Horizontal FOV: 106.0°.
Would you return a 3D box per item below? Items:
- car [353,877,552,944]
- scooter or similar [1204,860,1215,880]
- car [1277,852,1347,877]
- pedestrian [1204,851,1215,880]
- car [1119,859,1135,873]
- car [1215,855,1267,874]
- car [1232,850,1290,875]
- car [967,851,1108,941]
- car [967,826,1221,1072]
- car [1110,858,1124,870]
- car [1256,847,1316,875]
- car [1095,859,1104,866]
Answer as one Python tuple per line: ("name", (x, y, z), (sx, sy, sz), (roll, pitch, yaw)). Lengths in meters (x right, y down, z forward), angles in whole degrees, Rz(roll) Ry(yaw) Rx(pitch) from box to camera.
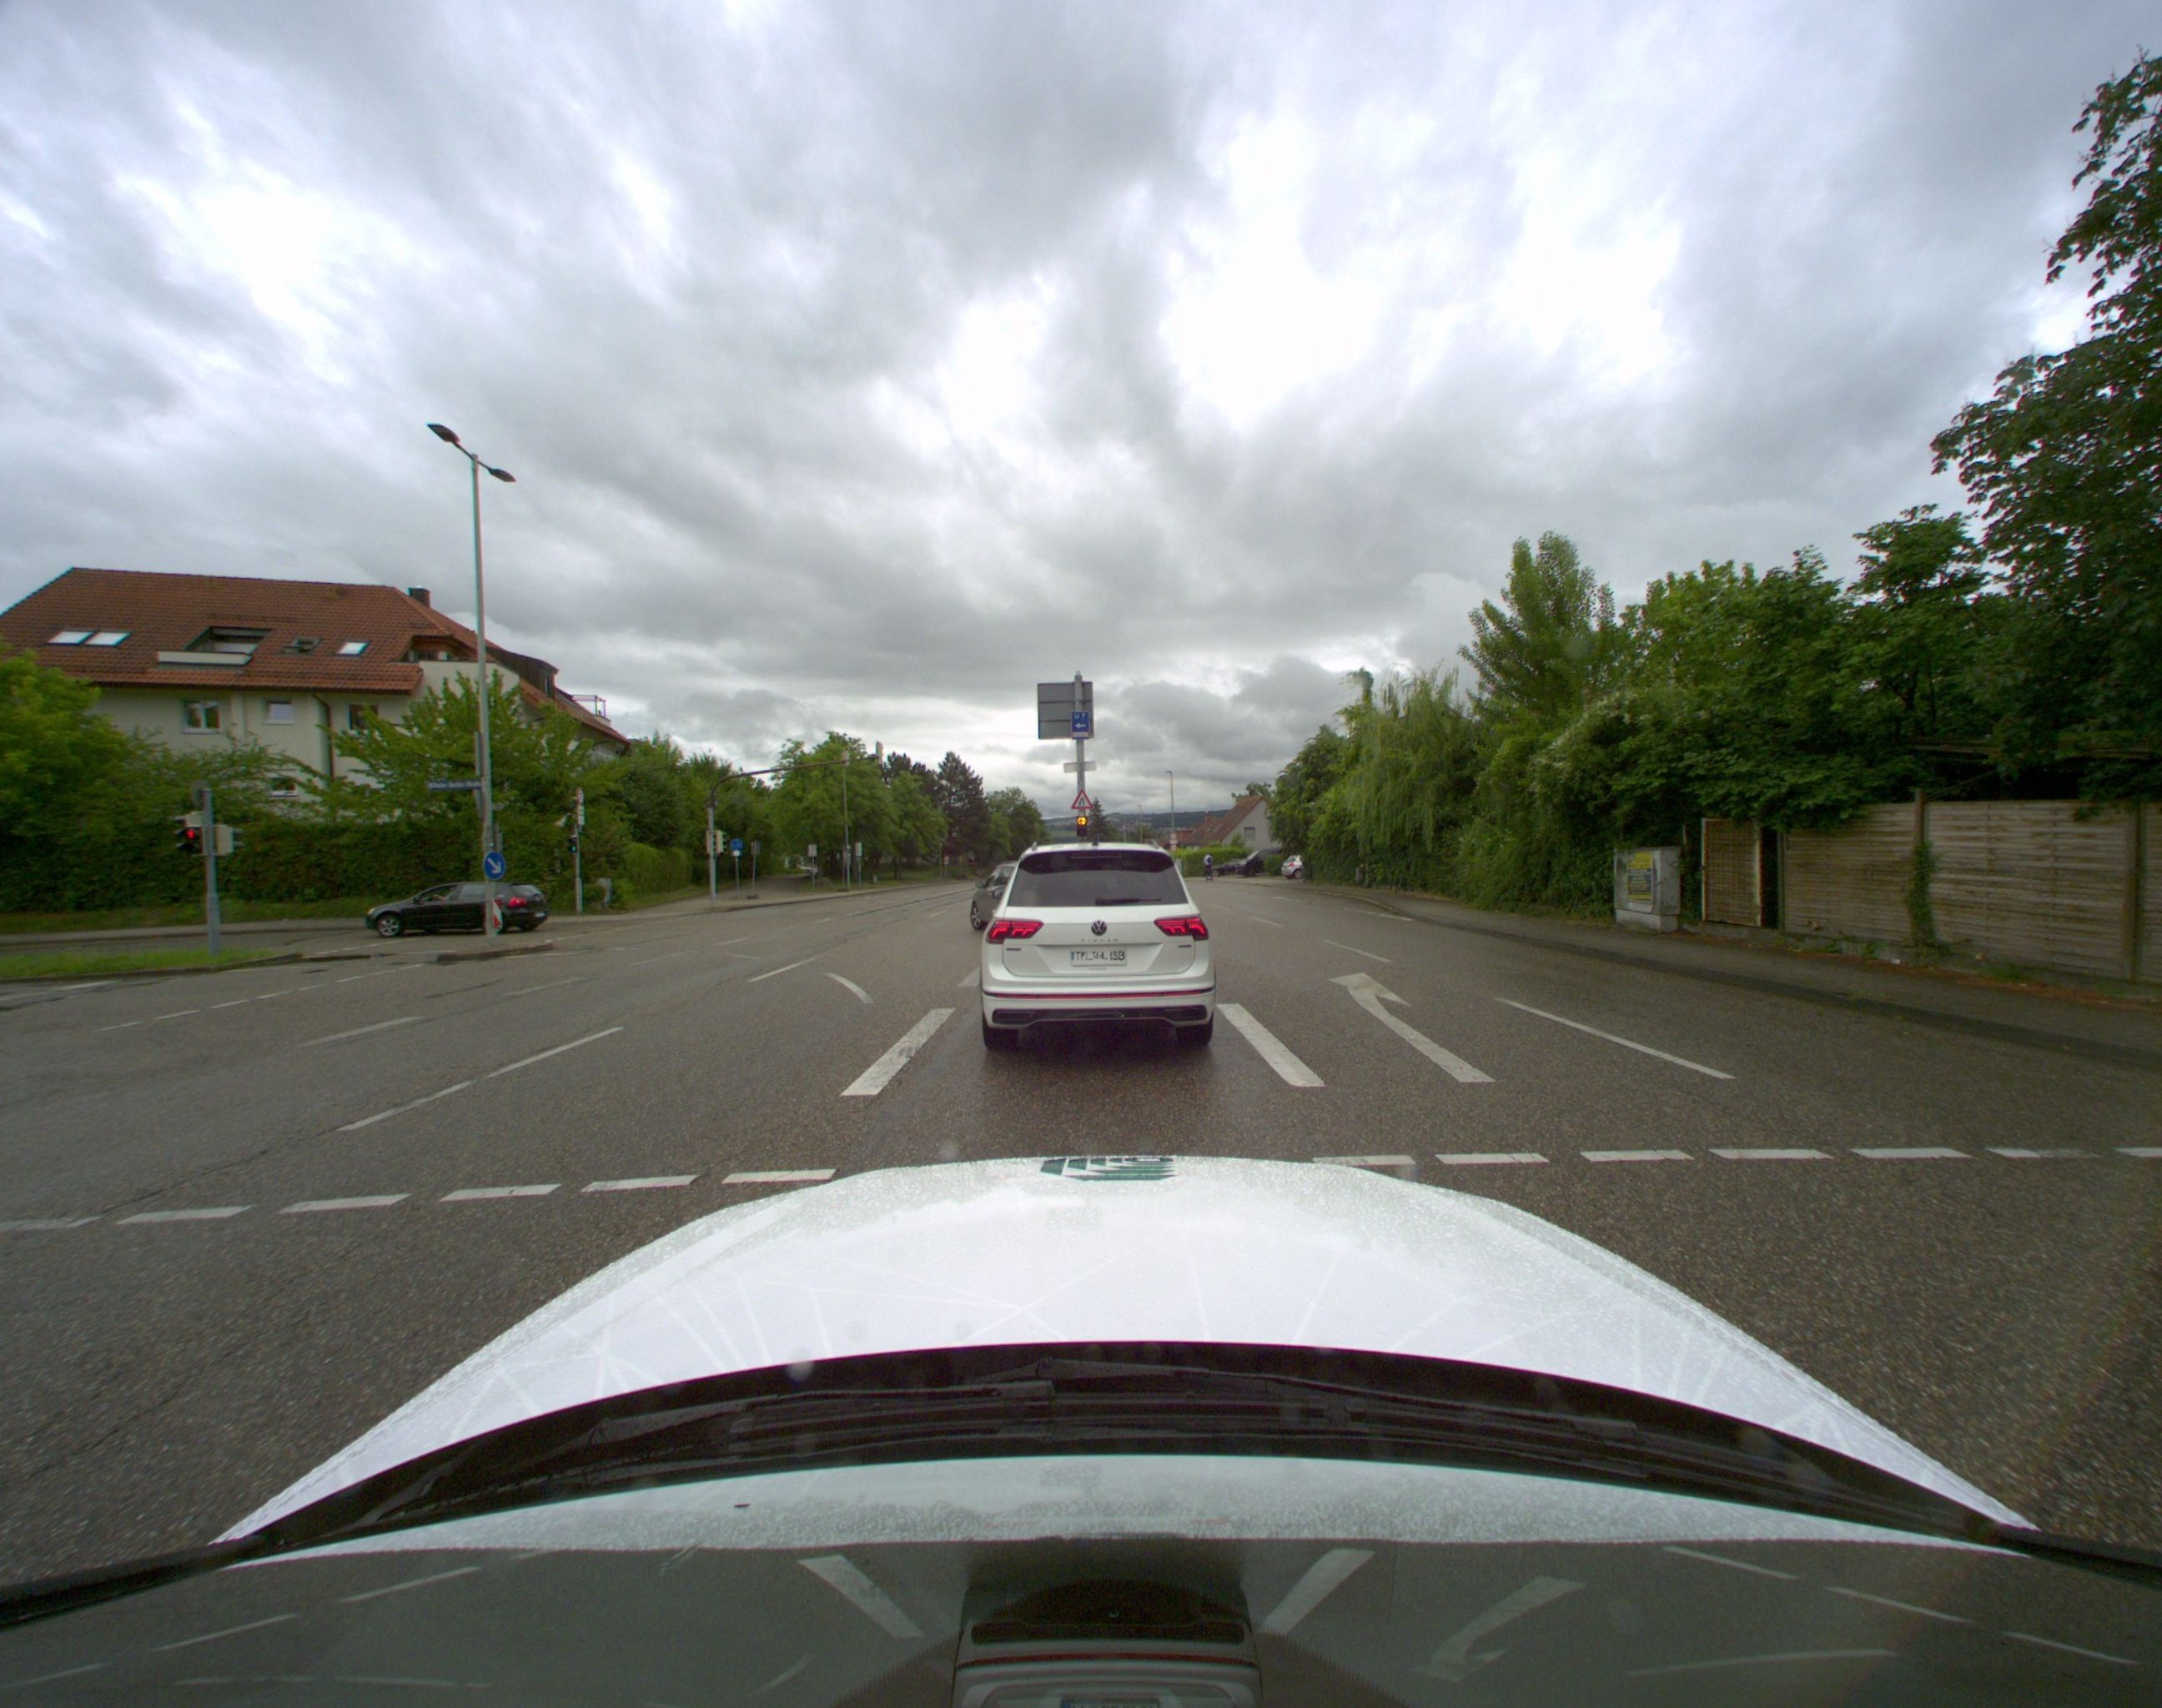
("car", (-16.825, 1.463, 22.073), (4.011, 1.479, 1.749), (-2, 0, -29))
("scooter or similar", (9.075, 1.103, 57.415), (0.460, 1.361, 1.383), (-1, 0, -2))
("car", (14.032, 0.661, 49.539), (3.709, 1.395, 1.725), (-2, -1, -6))
("pedestrian", (9.009, 0.777, 57.134), (0.654, 2.002, 0.717), (-1, 0, -2))
("car", (5.334, 1.399, 94.796), (1.843, 1.574, 4.002), (0, 0, 2))
("car", (12.212, 0.826, 62.213), (3.676, 1.370, 1.518), (-1, -2, 0))
("car", (12.663, 0.568, 57.357), (3.619, 1.626, 1.789), (-2, 0, -3))
("car", (-1.031, 0.782, 16.929), (1.805, 1.589, 3.898), (-2, 0, -21))
("car", (0.122, 0.655, 7.774), (1.757, 1.696, 4.273), (0, 0, 1))
("car", (5.046, 1.423, 113.466), (1.843, 1.574, 4.002), (-2, 0, 2))
("car", (13.800, 0.471, 54.917), (3.618, 1.746, 1.706), (-2, 0, -3))
("car", (4.452, 2.139, 195.318), (1.844, 1.574, 4.002), (-2, 0, 2))
